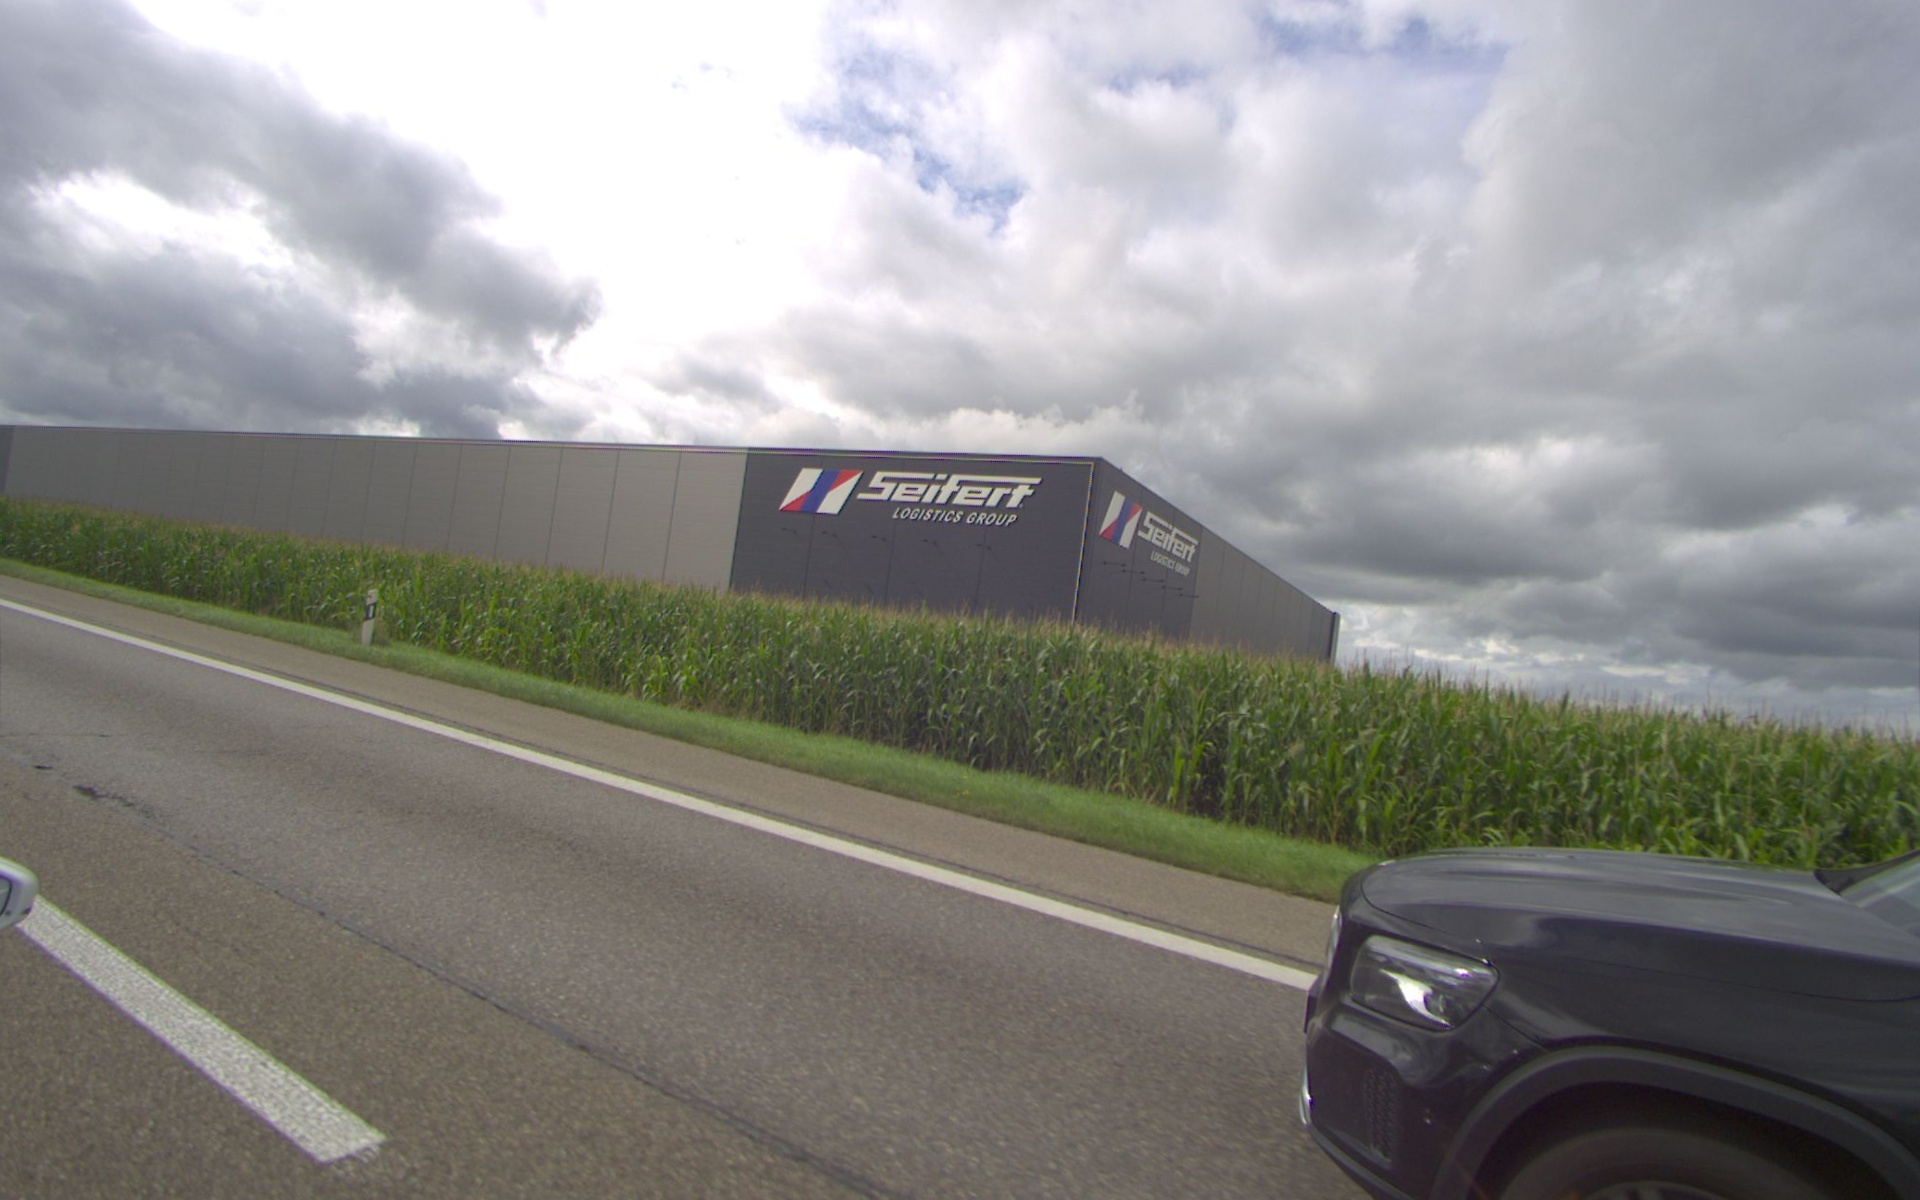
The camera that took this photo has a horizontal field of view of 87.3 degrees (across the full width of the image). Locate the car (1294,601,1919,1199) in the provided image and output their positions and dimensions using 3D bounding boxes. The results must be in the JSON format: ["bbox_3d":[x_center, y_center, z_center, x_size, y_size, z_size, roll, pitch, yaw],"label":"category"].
[{"bbox_3d":[3.105,1.092,1.960,4.288,1.628,1.837,6,-1,31],"label":"car"}]
